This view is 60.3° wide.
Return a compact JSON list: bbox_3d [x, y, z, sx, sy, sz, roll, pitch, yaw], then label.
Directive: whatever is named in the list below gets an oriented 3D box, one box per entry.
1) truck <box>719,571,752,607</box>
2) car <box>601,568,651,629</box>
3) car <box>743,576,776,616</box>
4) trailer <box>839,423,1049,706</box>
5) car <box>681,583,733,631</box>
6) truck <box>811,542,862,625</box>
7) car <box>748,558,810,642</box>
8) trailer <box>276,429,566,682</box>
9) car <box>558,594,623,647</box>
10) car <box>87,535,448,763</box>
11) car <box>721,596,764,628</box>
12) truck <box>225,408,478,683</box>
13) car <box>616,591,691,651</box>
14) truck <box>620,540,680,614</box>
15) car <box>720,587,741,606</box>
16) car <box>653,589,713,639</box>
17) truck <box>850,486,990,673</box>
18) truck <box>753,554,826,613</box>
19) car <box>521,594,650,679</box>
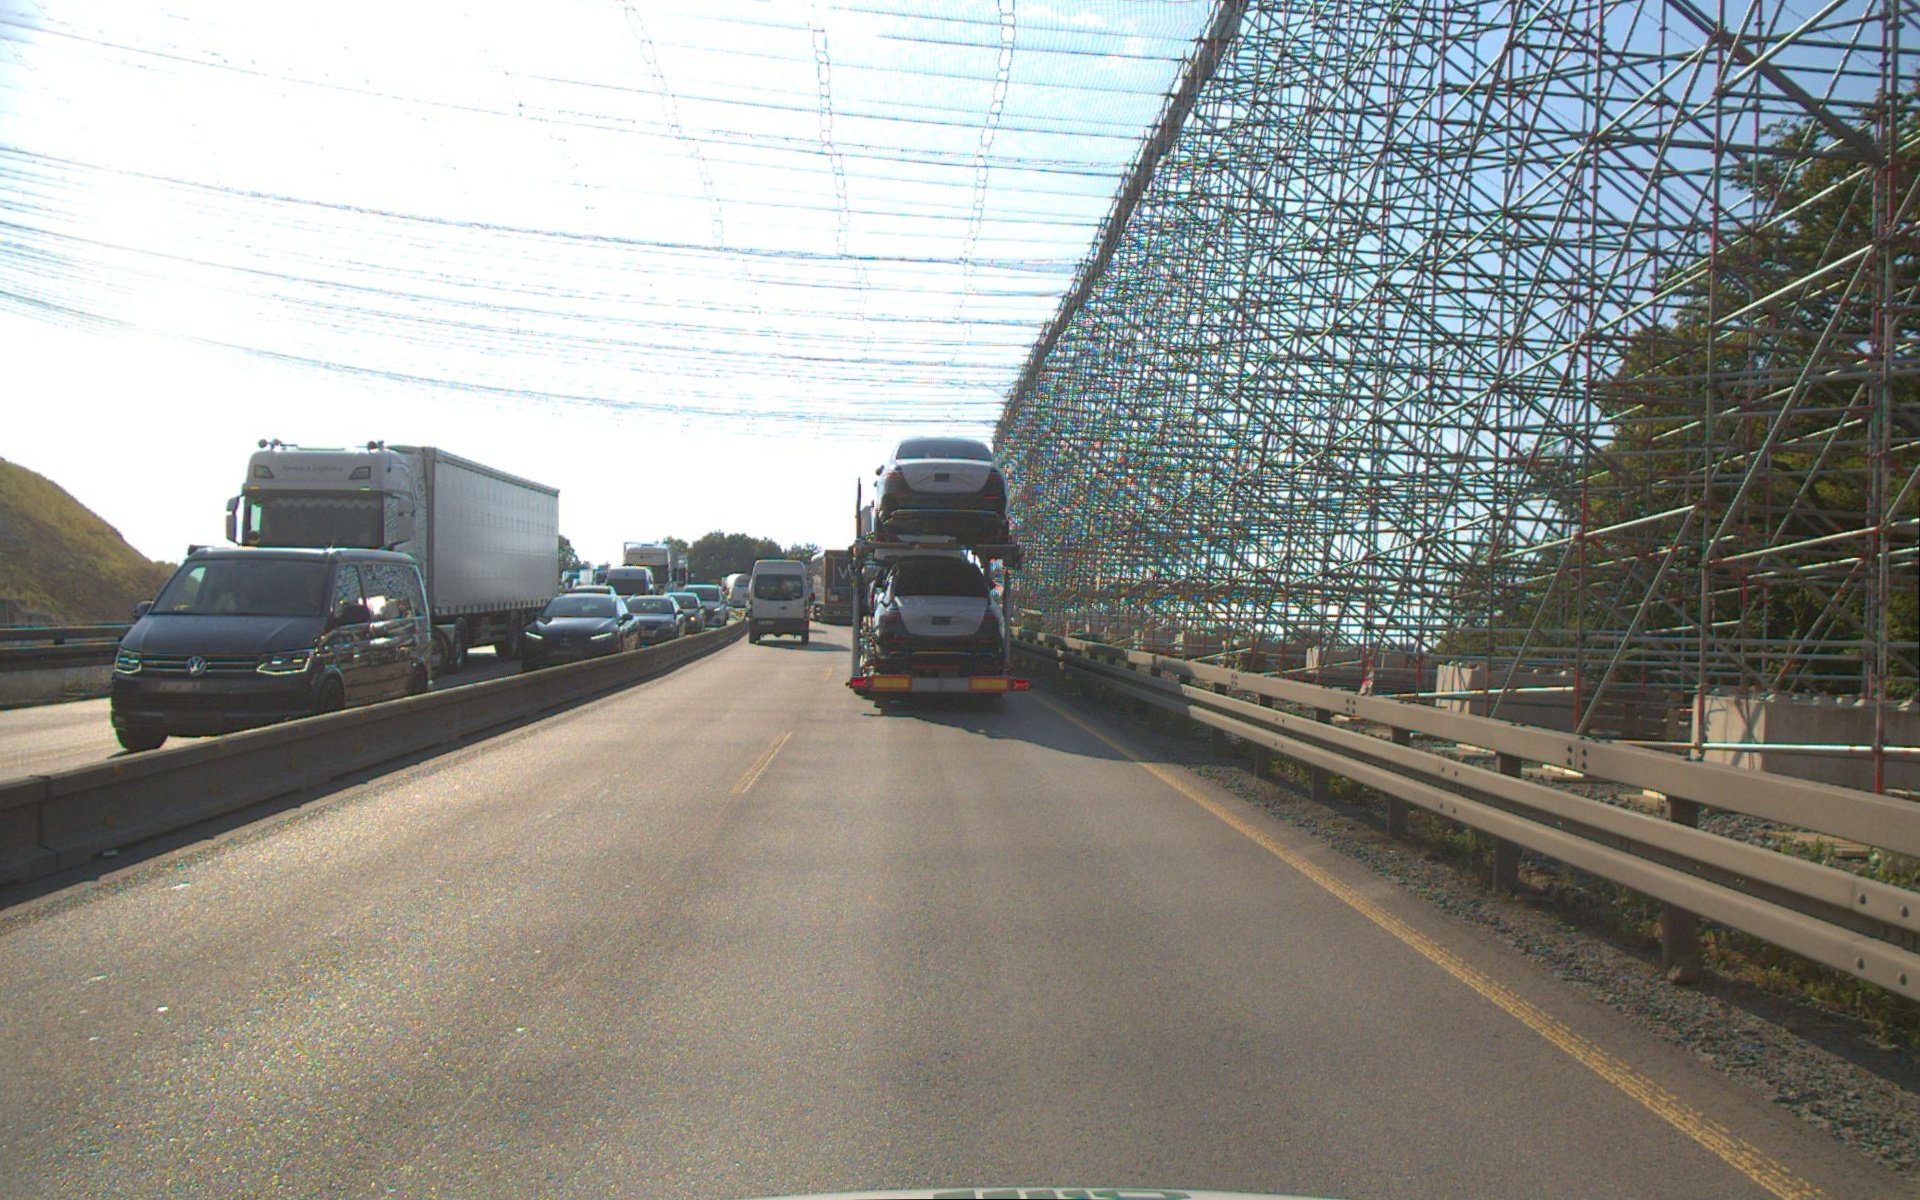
[{"bbox_3d":[-24.986,-1.202,183.757,2.571,3.788,9.626,2,0,-13],"label":"truck"},{"bbox_3d":[-14.783,-0.076,73.307,1.957,2.586,3.991,2,0,-9],"label":"car"},{"bbox_3d":[-13.814,-0.276,113.742,1.957,2.623,3.990,2,0,-10],"label":"car"},{"bbox_3d":[-0.595,-0.411,29.797,2.812,3.790,14.937,1,-1,-3],"label":"trailer"},{"bbox_3d":[-10.717,0.292,70.282,1.800,1.926,3.997,2,0,-4],"label":"car"},{"bbox_3d":[-7.124,-0.920,95.939,2.678,4.462,11.512,1,0,-4],"label":"truck"},{"bbox_3d":[-5.940,0.030,54.575,1.918,2.667,3.996,0,-1,-5],"label":"car"},{"bbox_3d":[-11.015,-0.785,35.711,2.601,4.307,13.907,2,0,-4],"label":"trailer"},{"bbox_3d":[-12.701,0.693,57.059,1.646,1.713,3.996,2,0,-5],"label":"car"},{"bbox_3d":[-6.873,0.432,17.063,1.837,1.969,4.859,2,0,-3],"label":"car"},{"bbox_3d":[-10.807,0.564,82.008,1.804,1.479,3.989,2,0,-11],"label":"car"},{"bbox_3d":[-10.452,-0.845,29.087,2.610,4.304,6.098,1,0,-5],"label":"truck"},{"bbox_3d":[-8.646,0.554,46.927,1.708,1.570,4.400,2,0,-6],"label":"car"},{"bbox_3d":[-16.305,-1.146,87.632,2.546,3.534,12.367,2,0,-9],"label":"truck"},{"bbox_3d":[-20.168,-0.307,145.621,1.678,1.646,3.498,1,-1,-6],"label":"car"},{"bbox_3d":[-9.904,0.485,59.319,1.662,1.657,3.997,2,0,-4],"label":"car"},{"bbox_3d":[-0.993,-0.386,37.255,2.824,3.767,7.320,1,-1,-3],"label":"truck"},{"bbox_3d":[-13.607,-1.176,130.638,3.625,4.294,13.616,-2,0,-14],"label":"truck"},{"bbox_3d":[-7.456,0.680,33.365,1.749,1.528,4.751,2,0,-3],"label":"car"}]
